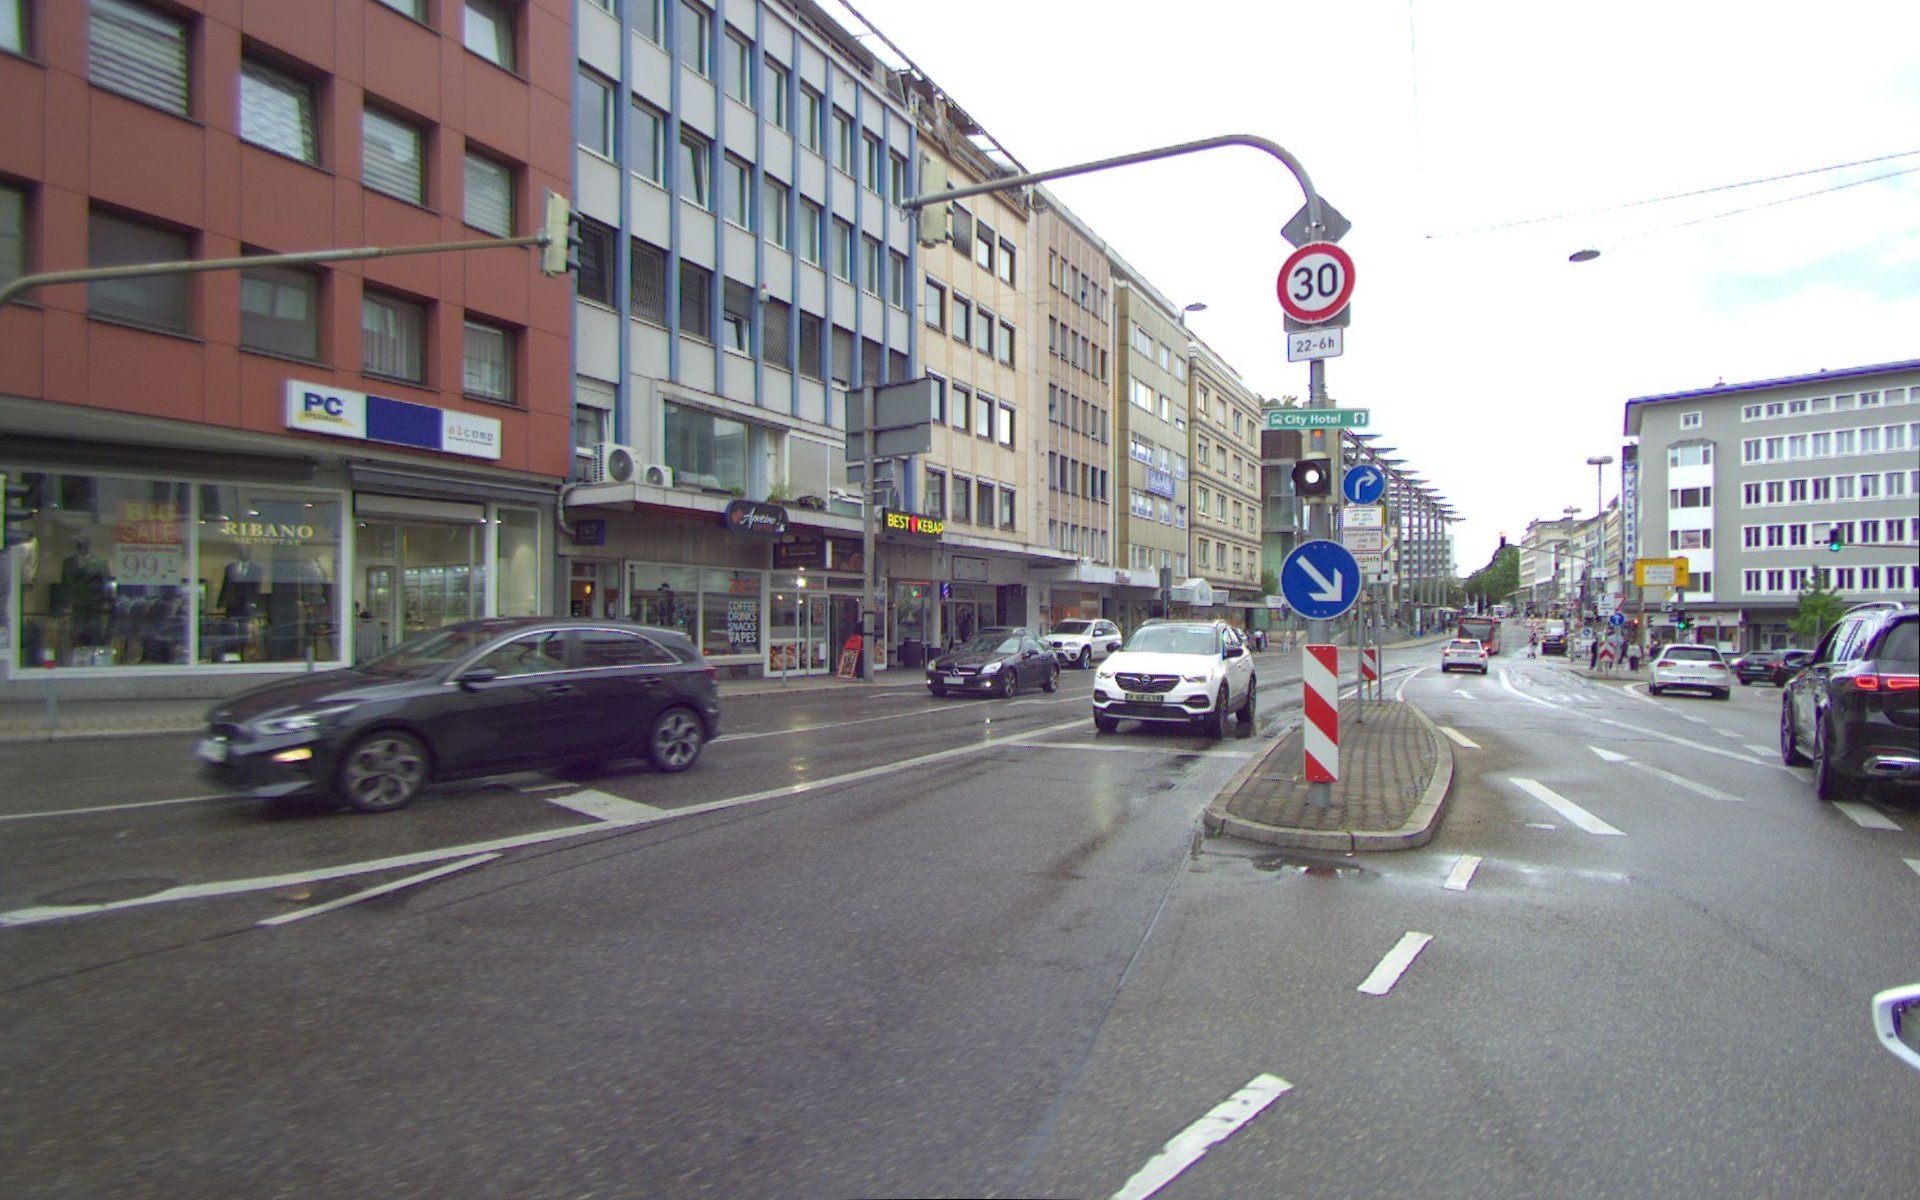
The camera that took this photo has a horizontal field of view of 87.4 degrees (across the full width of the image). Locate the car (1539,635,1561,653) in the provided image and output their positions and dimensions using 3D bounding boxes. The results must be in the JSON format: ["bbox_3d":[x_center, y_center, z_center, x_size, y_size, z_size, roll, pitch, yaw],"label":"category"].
[{"bbox_3d":[55.425,4.151,94.407,1.712,1.547,3.992,2,-1,31],"label":"car"}]

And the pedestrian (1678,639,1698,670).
[{"bbox_3d":[44.199,3.304,60.974,0.816,1.802,0.617,2,0,24],"label":"pedestrian"}]

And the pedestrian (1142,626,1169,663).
[{"bbox_3d":[9.669,2.188,49.652,0.937,1.718,1.085,2,0,28],"label":"pedestrian"}]

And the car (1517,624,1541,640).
[{"bbox_3d":[69.575,3.891,122.901,2.387,1.804,5.146,2,-1,29],"label":"car"}]

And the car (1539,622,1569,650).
[{"bbox_3d":[66.744,4.013,112.997,2.407,2.996,6.145,2,-1,27],"label":"car"}]

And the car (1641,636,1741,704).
[{"bbox_3d":[20.731,1.909,28.639,1.922,1.595,3.990,2,1,32],"label":"car"}]

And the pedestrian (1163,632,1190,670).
[{"bbox_3d":[10.476,2.450,48.622,0.937,1.737,1.089,2,0,28],"label":"pedestrian"}]

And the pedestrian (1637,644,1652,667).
[{"bbox_3d":[41.695,3.350,61.216,0.620,1.357,0.587,2,0,24],"label":"pedestrian"}]

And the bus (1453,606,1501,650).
[{"bbox_3d":[45.141,2.565,87.368,2.877,3.364,18.446,2,-1,30],"label":"bus"}]

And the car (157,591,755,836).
[{"bbox_3d":[-4.166,0.791,8.998,1.967,1.572,4.363,2,0,36],"label":"car"}]

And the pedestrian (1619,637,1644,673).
[{"bbox_3d":[33.369,2.710,49.904,0.965,1.694,0.912,2,0,35],"label":"pedestrian"}]

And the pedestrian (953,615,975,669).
[{"bbox_3d":[0.125,1.381,33.251,0.439,1.731,0.583,2,0,30],"label":"pedestrian"}]

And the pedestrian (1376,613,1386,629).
[{"bbox_3d":[47.867,2.352,114.169,1.022,1.735,1.007,2,-1,24],"label":"pedestrian"}]

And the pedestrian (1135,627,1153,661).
[{"bbox_3d":[8.637,2.064,47.251,0.632,1.595,0.611,1,-1,30],"label":"pedestrian"}]

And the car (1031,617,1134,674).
[{"bbox_3d":[4.485,1.608,36.110,1.822,1.851,4.954,1,-1,30],"label":"car"}]

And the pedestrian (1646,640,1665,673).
[{"bbox_3d":[34.755,2.837,50.194,0.703,1.589,0.852,2,-1,34],"label":"pedestrian"}]

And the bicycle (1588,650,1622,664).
[{"bbox_3d":[50.179,4.444,78.111,2.115,1.006,0.690,0,-2,44],"label":"bicycle"}]

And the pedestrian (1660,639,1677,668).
[{"bbox_3d":[42.705,3.221,60.534,0.771,1.711,0.636,2,0,39],"label":"pedestrian"}]

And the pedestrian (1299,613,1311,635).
[{"bbox_3d":[31.801,2.238,92.538,0.868,2.007,0.973,1,-1,29],"label":"pedestrian"}]

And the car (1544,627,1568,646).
[{"bbox_3d":[63.622,3.908,107.237,1.832,1.850,4.099,2,-1,27],"label":"car"}]

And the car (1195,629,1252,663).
[{"bbox_3d":[13.873,2.357,52.778,1.820,1.571,4.393,3,0,29],"label":"car"}]

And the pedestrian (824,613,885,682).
[{"bbox_3d":[-2.799,1.235,26.785,0.937,1.741,1.417,2,0,28],"label":"pedestrian"}]

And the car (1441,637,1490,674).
[{"bbox_3d":[22.301,2.400,44.236,1.765,1.434,4.624,1,-1,29],"label":"car"}]

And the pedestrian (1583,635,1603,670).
[{"bbox_3d":[32.434,2.676,51.456,0.773,1.733,0.705,2,-1,34],"label":"pedestrian"}]

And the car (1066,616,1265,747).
[{"bbox_3d":[3.267,1.077,15.214,1.962,1.572,4.425,2,0,25],"label":"car"}]

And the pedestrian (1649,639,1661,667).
[{"bbox_3d":[42.151,3.204,60.887,0.562,1.691,0.500,1,-1,37],"label":"pedestrian"}]

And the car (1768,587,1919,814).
[{"bbox_3d":[9.485,0.871,9.870,2.060,1.841,4.777,0,-1,35],"label":"car"}]

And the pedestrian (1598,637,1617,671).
[{"bbox_3d":[33.978,2.827,52.725,0.746,1.714,0.691,2,-2,34],"label":"pedestrian"}]

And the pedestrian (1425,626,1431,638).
[{"bbox_3d":[56.023,3.850,120.292,0.501,1.358,0.420,2,0,17],"label":"pedestrian"}]

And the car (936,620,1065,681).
[{"bbox_3d":[1.333,1.499,30.484,1.838,1.629,4.871,1,-1,30],"label":"car"}]

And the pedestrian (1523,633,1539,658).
[{"bbox_3d":[45.317,3.607,79.754,0.942,1.911,0.807,2,0,37],"label":"pedestrian"}]

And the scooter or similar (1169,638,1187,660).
[{"bbox_3d":[11.115,2.480,51.217,0.725,1.068,0.700,2,0,28],"label":"scooter or similar"}]

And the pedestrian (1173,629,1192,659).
[{"bbox_3d":[11.537,2.277,52.006,0.656,1.504,1.063,2,0,28],"label":"pedestrian"}]

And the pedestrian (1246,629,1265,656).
[{"bbox_3d":[18.609,2.650,63.336,0.831,1.649,0.772,2,-1,-14],"label":"pedestrian"}]

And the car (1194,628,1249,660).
[{"bbox_3d":[13.777,2.291,52.816,1.675,1.584,4.193,1,-1,31],"label":"car"}]

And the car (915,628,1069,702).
[{"bbox_3d":[0.791,1.322,21.665,1.764,1.379,4.056,-1,-1,27],"label":"car"}]

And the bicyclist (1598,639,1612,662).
[{"bbox_3d":[50.177,3.929,78.154,0.835,1.727,0.619,0,-2,44],"label":"bicyclist"}]
